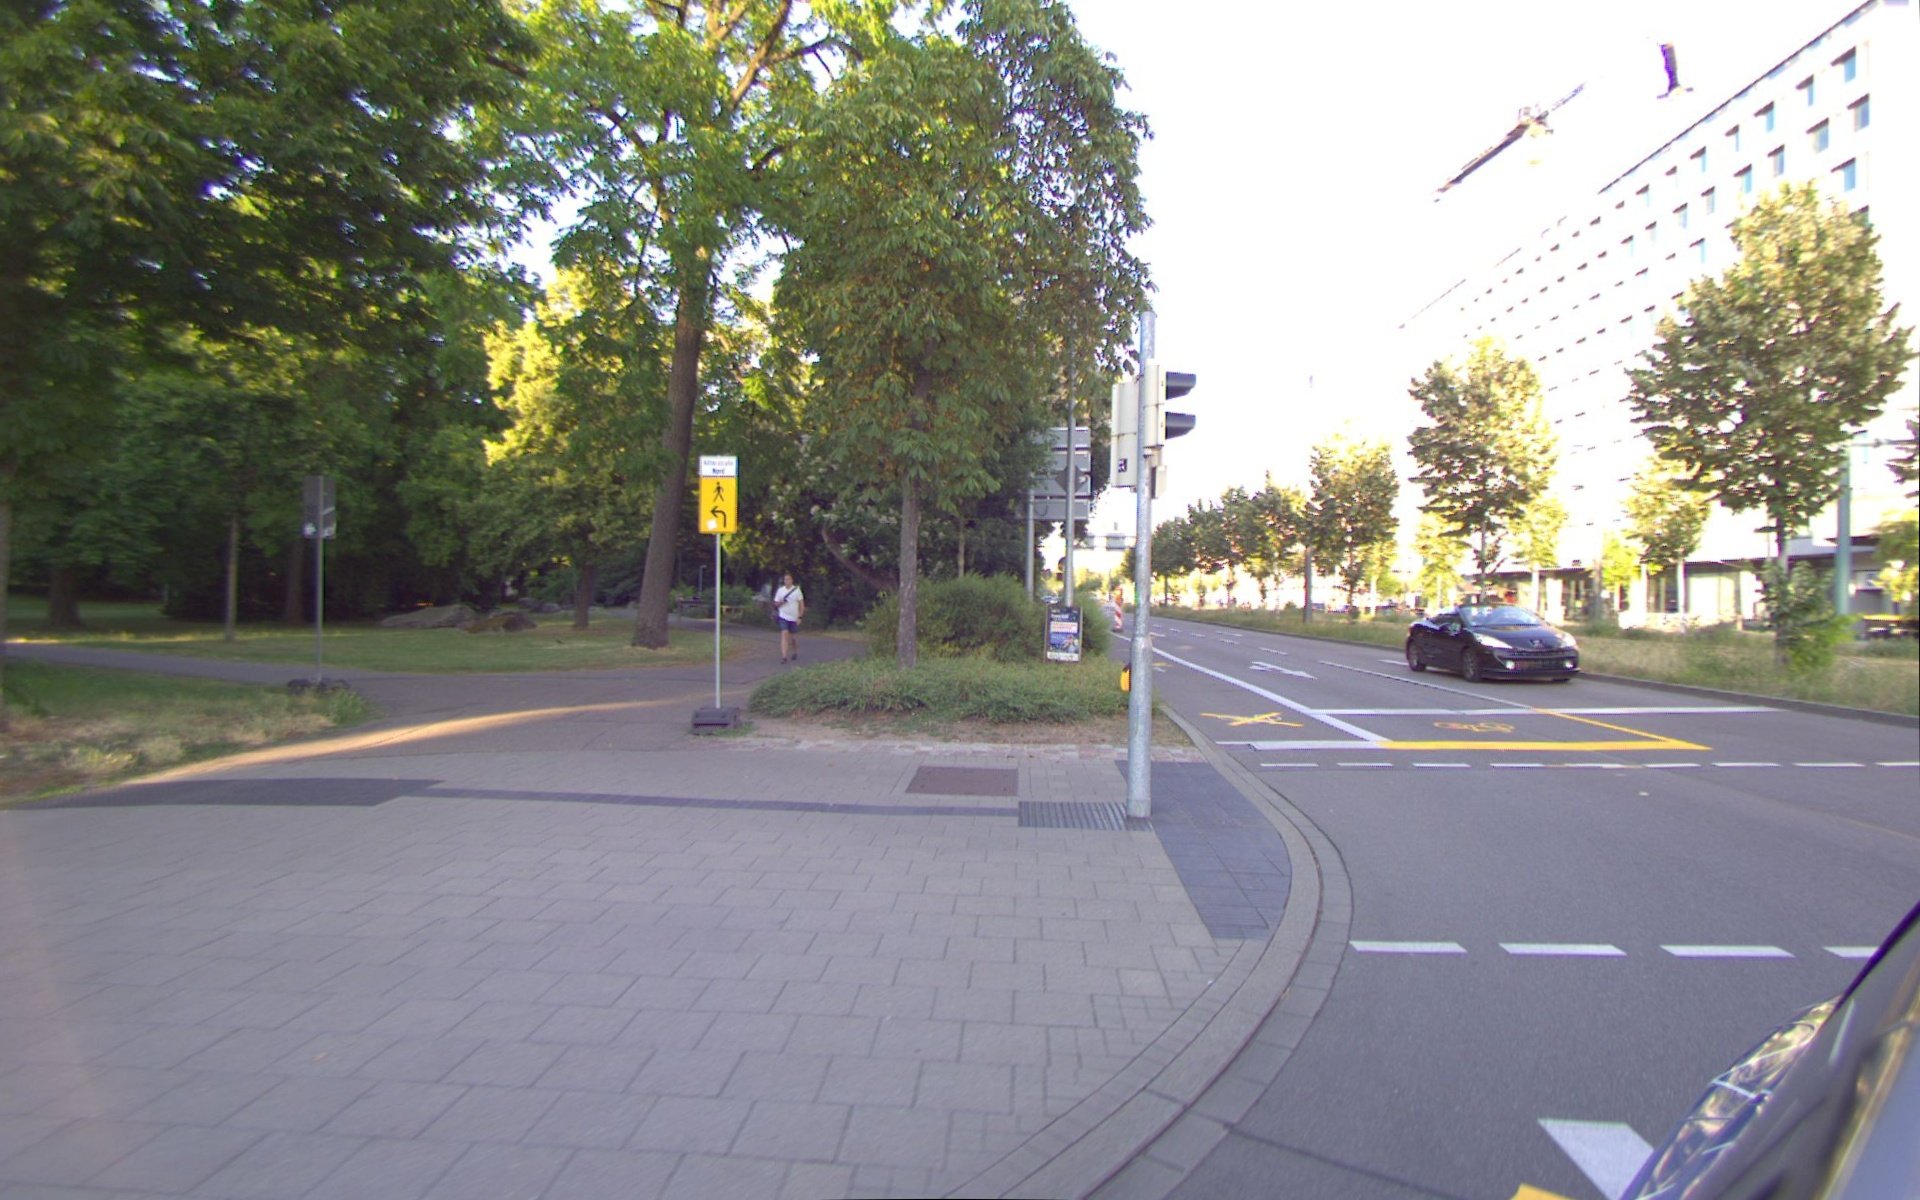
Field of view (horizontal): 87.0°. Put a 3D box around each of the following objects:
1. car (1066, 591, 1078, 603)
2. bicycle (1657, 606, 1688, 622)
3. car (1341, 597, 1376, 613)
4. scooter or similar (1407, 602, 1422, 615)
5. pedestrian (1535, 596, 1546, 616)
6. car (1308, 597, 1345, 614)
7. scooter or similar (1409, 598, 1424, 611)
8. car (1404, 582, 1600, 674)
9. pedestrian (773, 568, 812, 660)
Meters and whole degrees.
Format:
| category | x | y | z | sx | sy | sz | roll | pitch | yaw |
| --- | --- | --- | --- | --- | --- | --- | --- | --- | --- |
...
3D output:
| category | x | y | z | sx | sy | sz | roll | pitch | yaw |
| --- | --- | --- | --- | --- | --- | --- | --- | --- | --- |
| car | 16.461 | -0.425 | 148.747 | 1.674 | 1.617 | 4.253 | 0 | 0 | 5 |
| bicycle | 47.649 | 0.946 | 67.671 | 1.715 | 1.033 | 0.421 | 1 | 0 | 1 |
| car | 37.918 | 0.479 | 96.311 | 1.857 | 1.458 | 4.220 | 1 | 0 | 3 |
| scooter or similar | 41.402 | 0.753 | 92.203 | 1.165 | 1.178 | 0.337 | 0 | 0 | 6 |
| pedestrian | 46.884 | 0.459 | 81.719 | 0.490 | 1.620 | 0.602 | -2 | -1 | 6 |
| car | 35.021 | 0.521 | 96.752 | 1.985 | 1.459 | 4.795 | 3 | 0 | 4 |
| scooter or similar | 42.342 | 0.392 | 93.868 | 1.165 | 1.233 | 0.337 | 0 | 0 | 6 |
| car | 9.669 | 0.483 | 18.411 | 1.693 | 1.468 | 3.895 | 1 | -1 | 4 |
| pedestrian | -3.451 | 0.282 | 20.866 | 0.778 | 1.855 | 0.774 | 0 | 0 | -9 |
